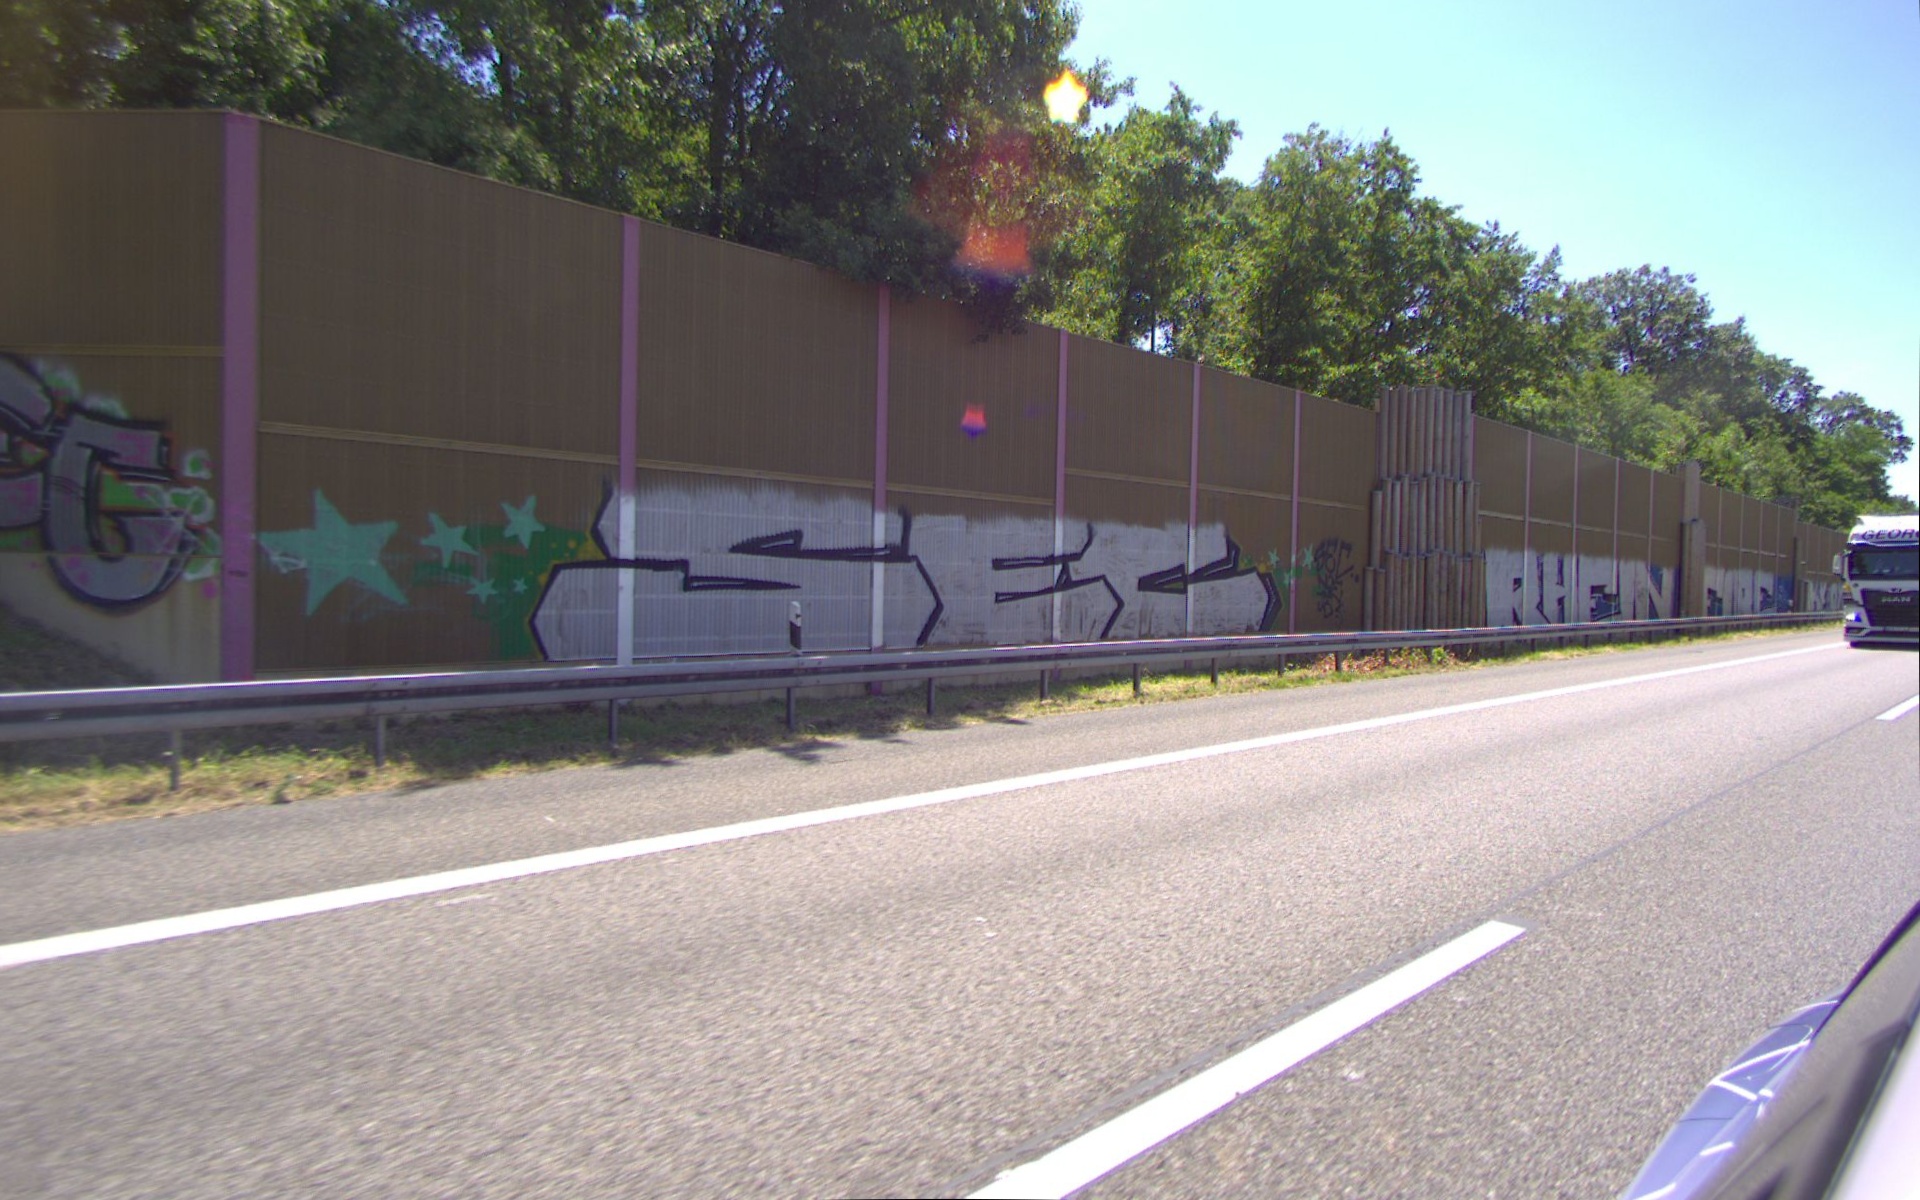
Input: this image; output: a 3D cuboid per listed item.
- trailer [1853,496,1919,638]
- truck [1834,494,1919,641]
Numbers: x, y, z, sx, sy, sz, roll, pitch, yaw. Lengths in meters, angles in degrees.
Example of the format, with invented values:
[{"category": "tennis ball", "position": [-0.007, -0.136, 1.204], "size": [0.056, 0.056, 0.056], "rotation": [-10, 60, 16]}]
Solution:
[{"category": "trailer", "position": [34.326, -1.063, 35.415], "size": [13.185, 4.343, 2.998], "rotation": [-1, 0, -41]}, {"category": "truck", "position": [28.962, -0.956, 30.702], "size": [5.162, 4.176, 3.008], "rotation": [-1, 1, -41]}]
